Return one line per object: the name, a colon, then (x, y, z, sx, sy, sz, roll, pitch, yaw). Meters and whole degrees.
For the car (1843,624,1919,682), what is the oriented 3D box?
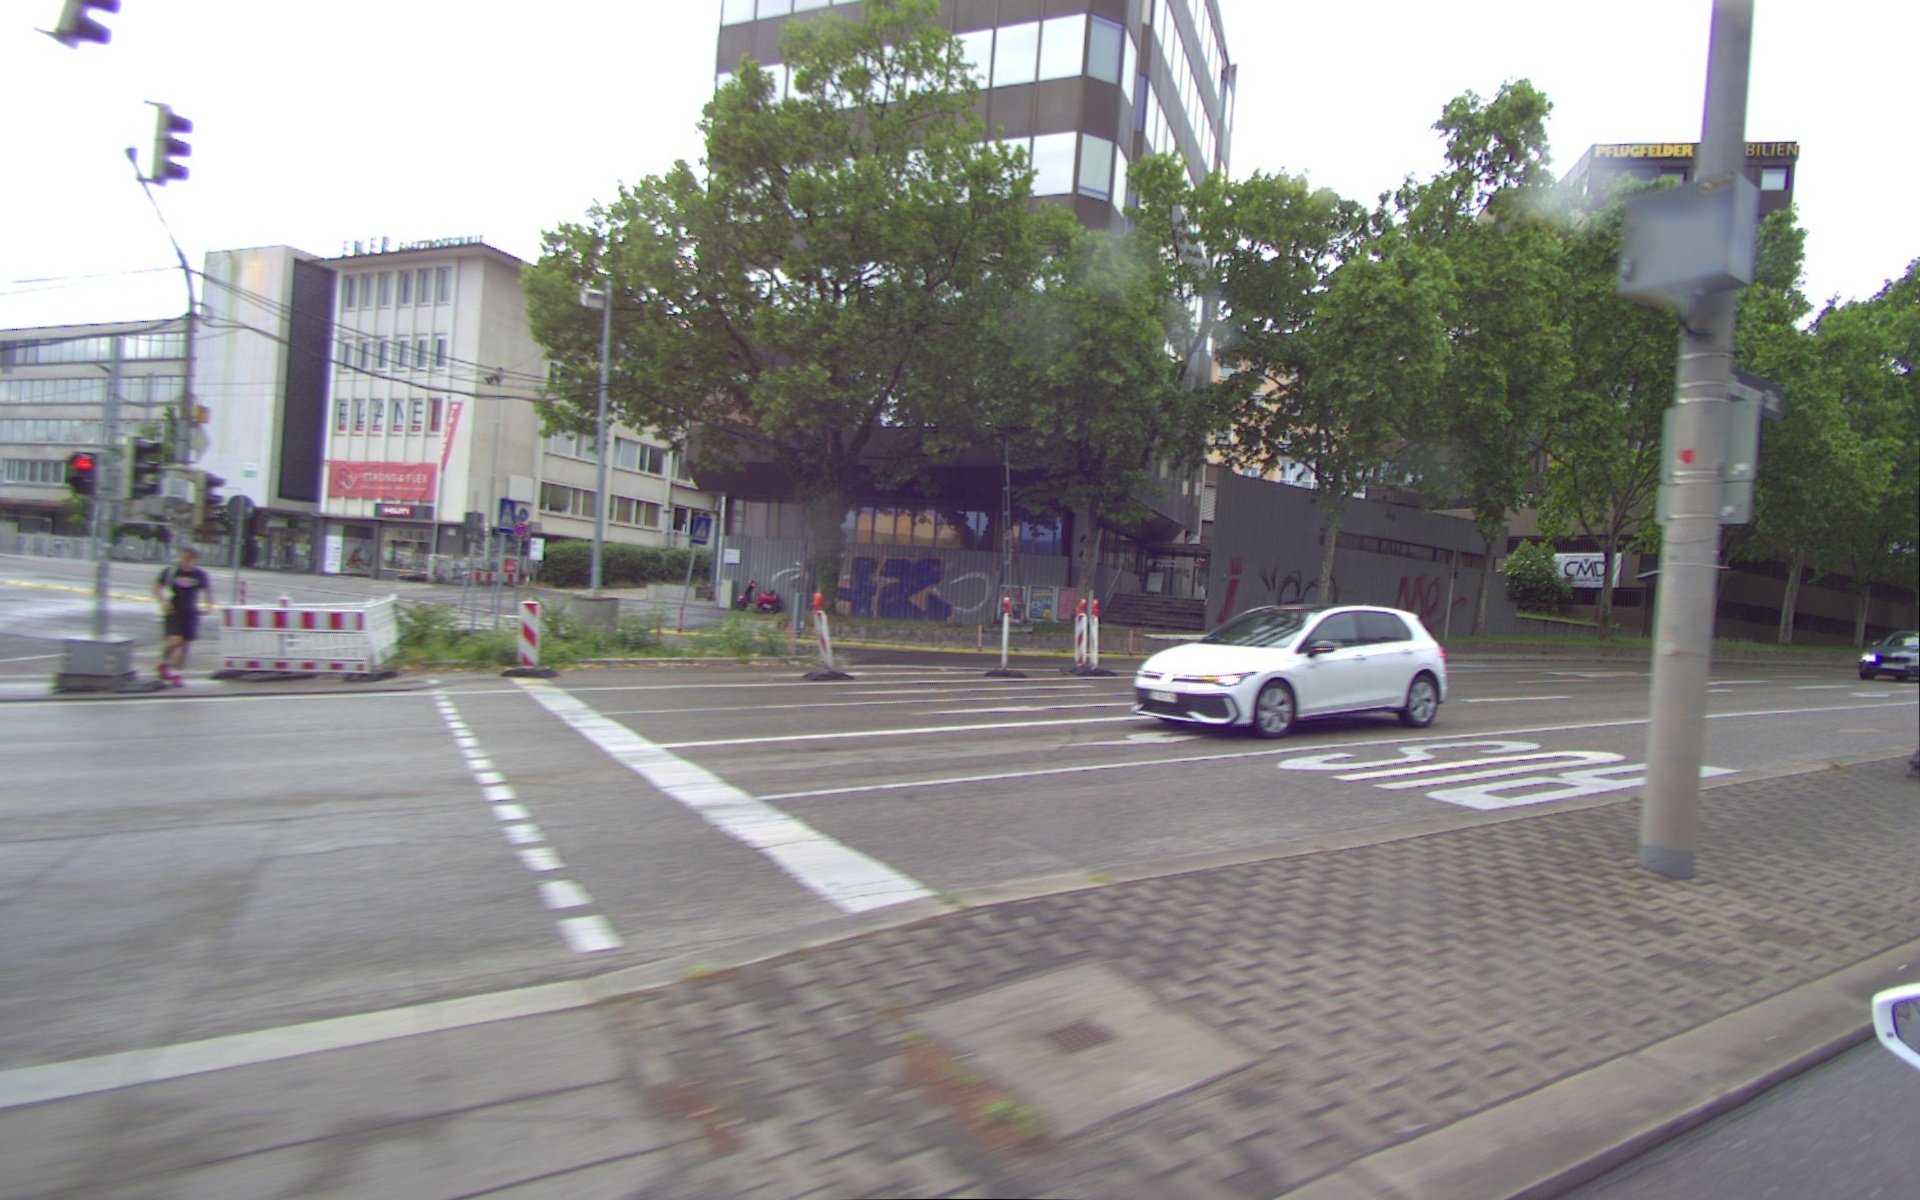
car: (26.853, 1.456, 28.262, 4.289, 1.468, 1.798, 1, 0, -31)

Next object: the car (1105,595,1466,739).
car: (4.006, 0.722, 12.170, 4.309, 1.480, 1.752, 1, 0, -31)

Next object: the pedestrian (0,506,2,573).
pedestrian: (-24.297, -1.279, 24.750, 0.729, 2.168, 0.746, 4, 1, 24)

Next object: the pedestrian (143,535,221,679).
pedestrian: (-10.620, 0.095, 13.714, 0.741, 1.905, 0.734, 4, 0, -39)

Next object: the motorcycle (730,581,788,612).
motorcycle: (-7.385, -0.129, 36.816, 2.142, 1.051, 0.565, 3, 1, 26)
